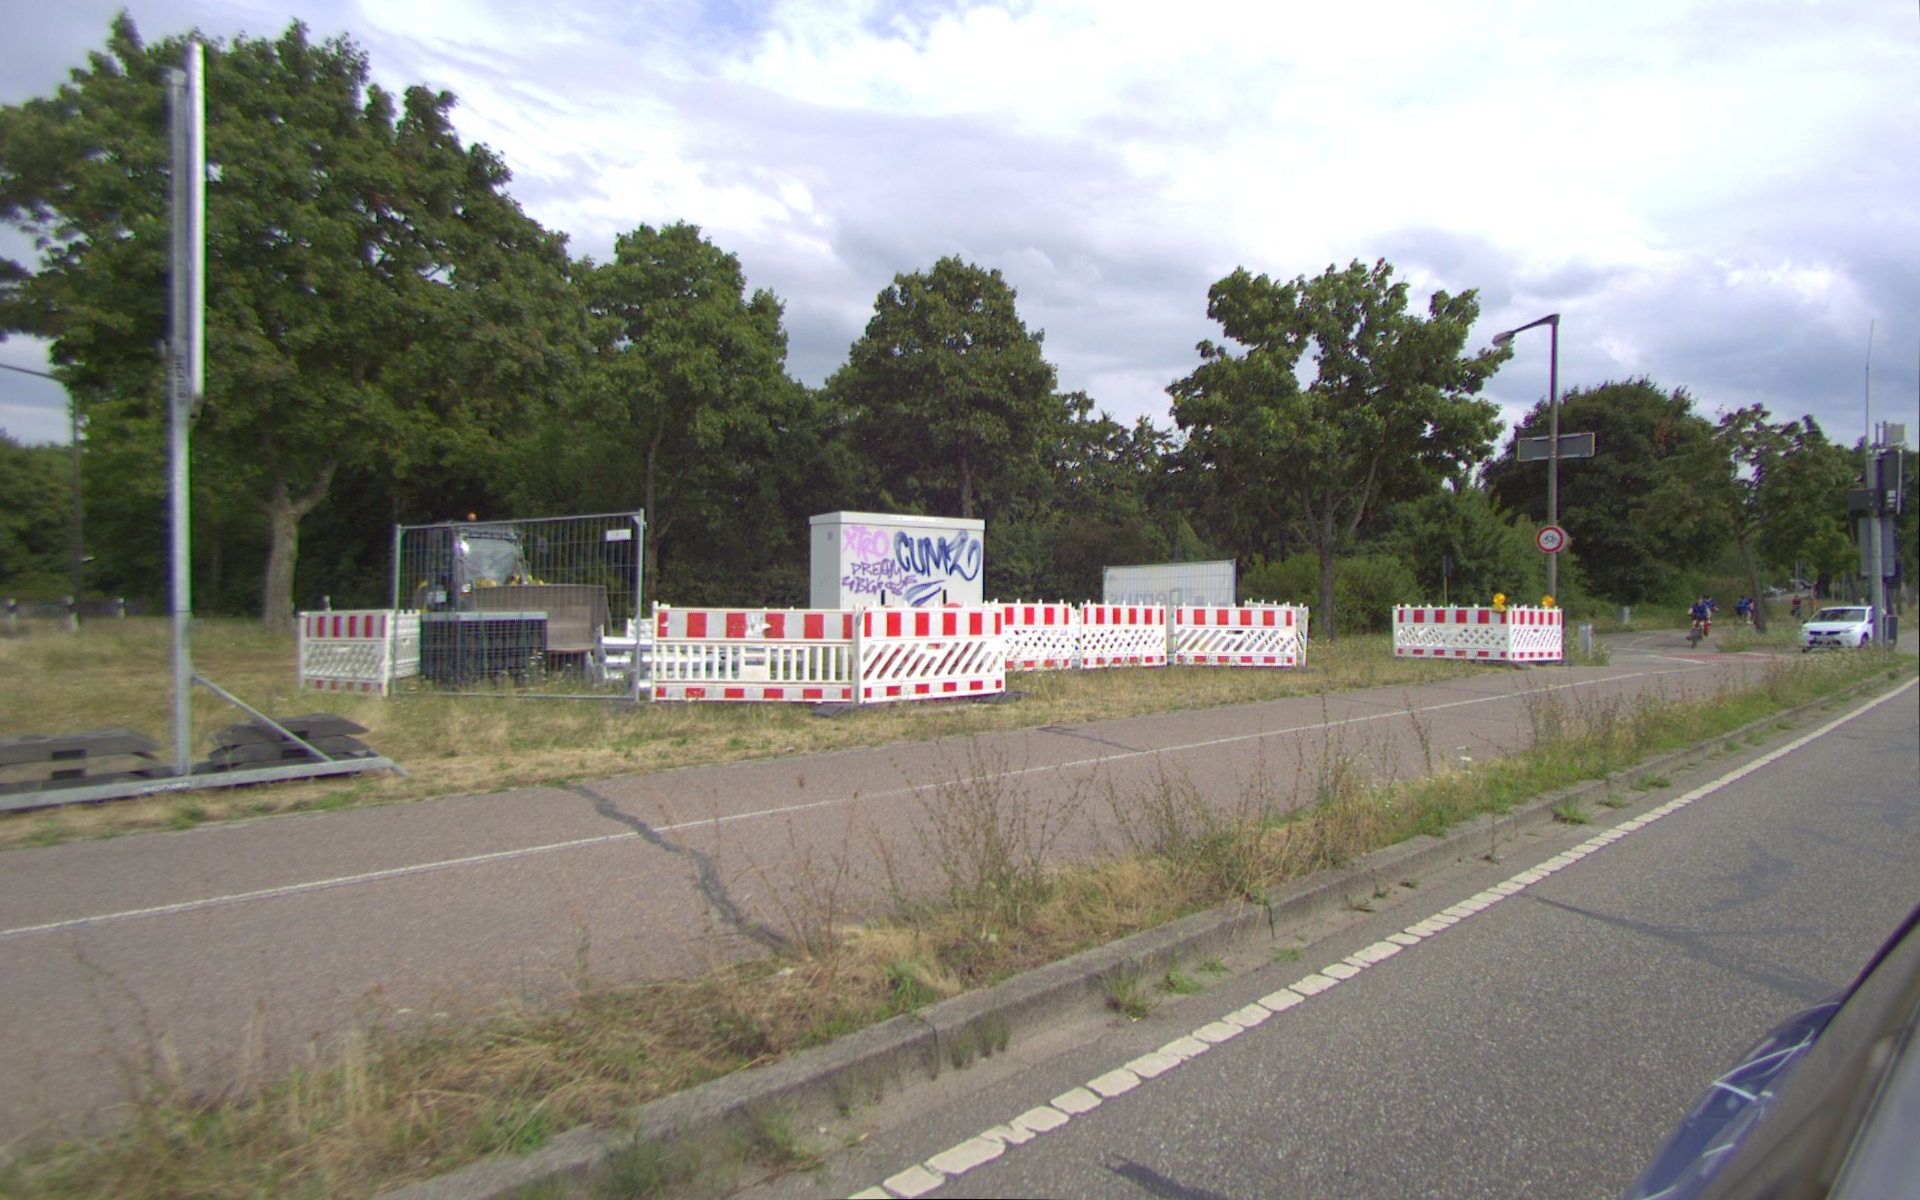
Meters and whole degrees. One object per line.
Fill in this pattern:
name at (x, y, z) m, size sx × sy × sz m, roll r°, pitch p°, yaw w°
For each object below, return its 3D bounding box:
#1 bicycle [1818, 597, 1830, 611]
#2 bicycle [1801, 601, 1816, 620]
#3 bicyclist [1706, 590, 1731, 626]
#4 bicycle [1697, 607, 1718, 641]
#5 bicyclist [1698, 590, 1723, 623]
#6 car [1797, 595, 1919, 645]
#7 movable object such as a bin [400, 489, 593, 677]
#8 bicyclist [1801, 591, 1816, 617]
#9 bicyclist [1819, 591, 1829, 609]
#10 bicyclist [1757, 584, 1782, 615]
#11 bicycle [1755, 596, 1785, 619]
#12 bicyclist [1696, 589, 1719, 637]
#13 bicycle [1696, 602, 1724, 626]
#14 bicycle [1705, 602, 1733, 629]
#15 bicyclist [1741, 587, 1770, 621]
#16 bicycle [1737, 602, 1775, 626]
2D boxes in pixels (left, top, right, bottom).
bicycle at (62.748, 0.302, 73.501) m, size 1.753 × 0.976 × 0.514 m, roll -1°, pitch 2°, yaw -45°
bicycle at (55.228, 0.658, 65.883) m, size 2.195 × 1.162 × 0.514 m, roll -1°, pitch 2°, yaw -45°
bicyclist at (32.855, 0.320, 43.854) m, size 0.943 × 1.537 × 0.741 m, roll -1°, pitch 0°, yaw -45°
bicycle at (26.957, 0.853, 36.482) m, size 0.572 × 1.162 × 1.956 m, roll 2°, pitch 2°, yaw 37°
bicyclist at (34.892, 0.281, 47.048) m, size 0.941 × 1.505 × 0.742 m, roll -1°, pitch 0°, yaw -40°
car at (29.682, 0.646, 33.444) m, size 3.920 × 1.521 × 1.854 m, roll -1°, pitch -1°, yaw -30°
movable object such as a bin at (-7.931, -0.267, 17.070) m, size 2.063 × 2.723 × 4.514 m, roll -1°, pitch 1°, yaw -36°
bicyclist at (55.303, 0.237, 65.960) m, size 0.768 × 1.678 × 0.652 m, roll -1°, pitch 0°, yaw -44°
bicyclist at (62.757, 0.023, 73.512) m, size 0.442 × 1.298 × 0.538 m, roll -1°, pitch 0°, yaw -44°
bicyclist at (38.673, -0.037, 48.357) m, size 0.790 × 1.492 × 0.743 m, roll -1°, pitch 0°, yaw -34°
bicycle at (38.810, 0.347, 48.465) m, size 1.754 × 1.018 × 0.622 m, roll 0°, pitch 3°, yaw -36°
bicyclist at (26.978, 0.465, 36.518) m, size 0.650 × 1.678 × 0.865 m, roll 0°, pitch 0°, yaw 37°
bicycle at (34.891, 0.647, 47.088) m, size 1.756 × 1.018 × 0.621 m, roll -3°, pitch 5°, yaw -40°
bicycle at (32.977, 0.656, 43.957) m, size 2.069 × 1.018 × 0.621 m, roll -3°, pitch 5°, yaw -44°
bicyclist at (36.350, 0.169, 46.242) m, size 0.939 × 1.537 × 0.744 m, roll -1°, pitch 0°, yaw -28°
bicycle at (36.428, 0.647, 46.302) m, size 2.151 × 1.049 × 0.598 m, roll 1°, pitch 1°, yaw -30°
